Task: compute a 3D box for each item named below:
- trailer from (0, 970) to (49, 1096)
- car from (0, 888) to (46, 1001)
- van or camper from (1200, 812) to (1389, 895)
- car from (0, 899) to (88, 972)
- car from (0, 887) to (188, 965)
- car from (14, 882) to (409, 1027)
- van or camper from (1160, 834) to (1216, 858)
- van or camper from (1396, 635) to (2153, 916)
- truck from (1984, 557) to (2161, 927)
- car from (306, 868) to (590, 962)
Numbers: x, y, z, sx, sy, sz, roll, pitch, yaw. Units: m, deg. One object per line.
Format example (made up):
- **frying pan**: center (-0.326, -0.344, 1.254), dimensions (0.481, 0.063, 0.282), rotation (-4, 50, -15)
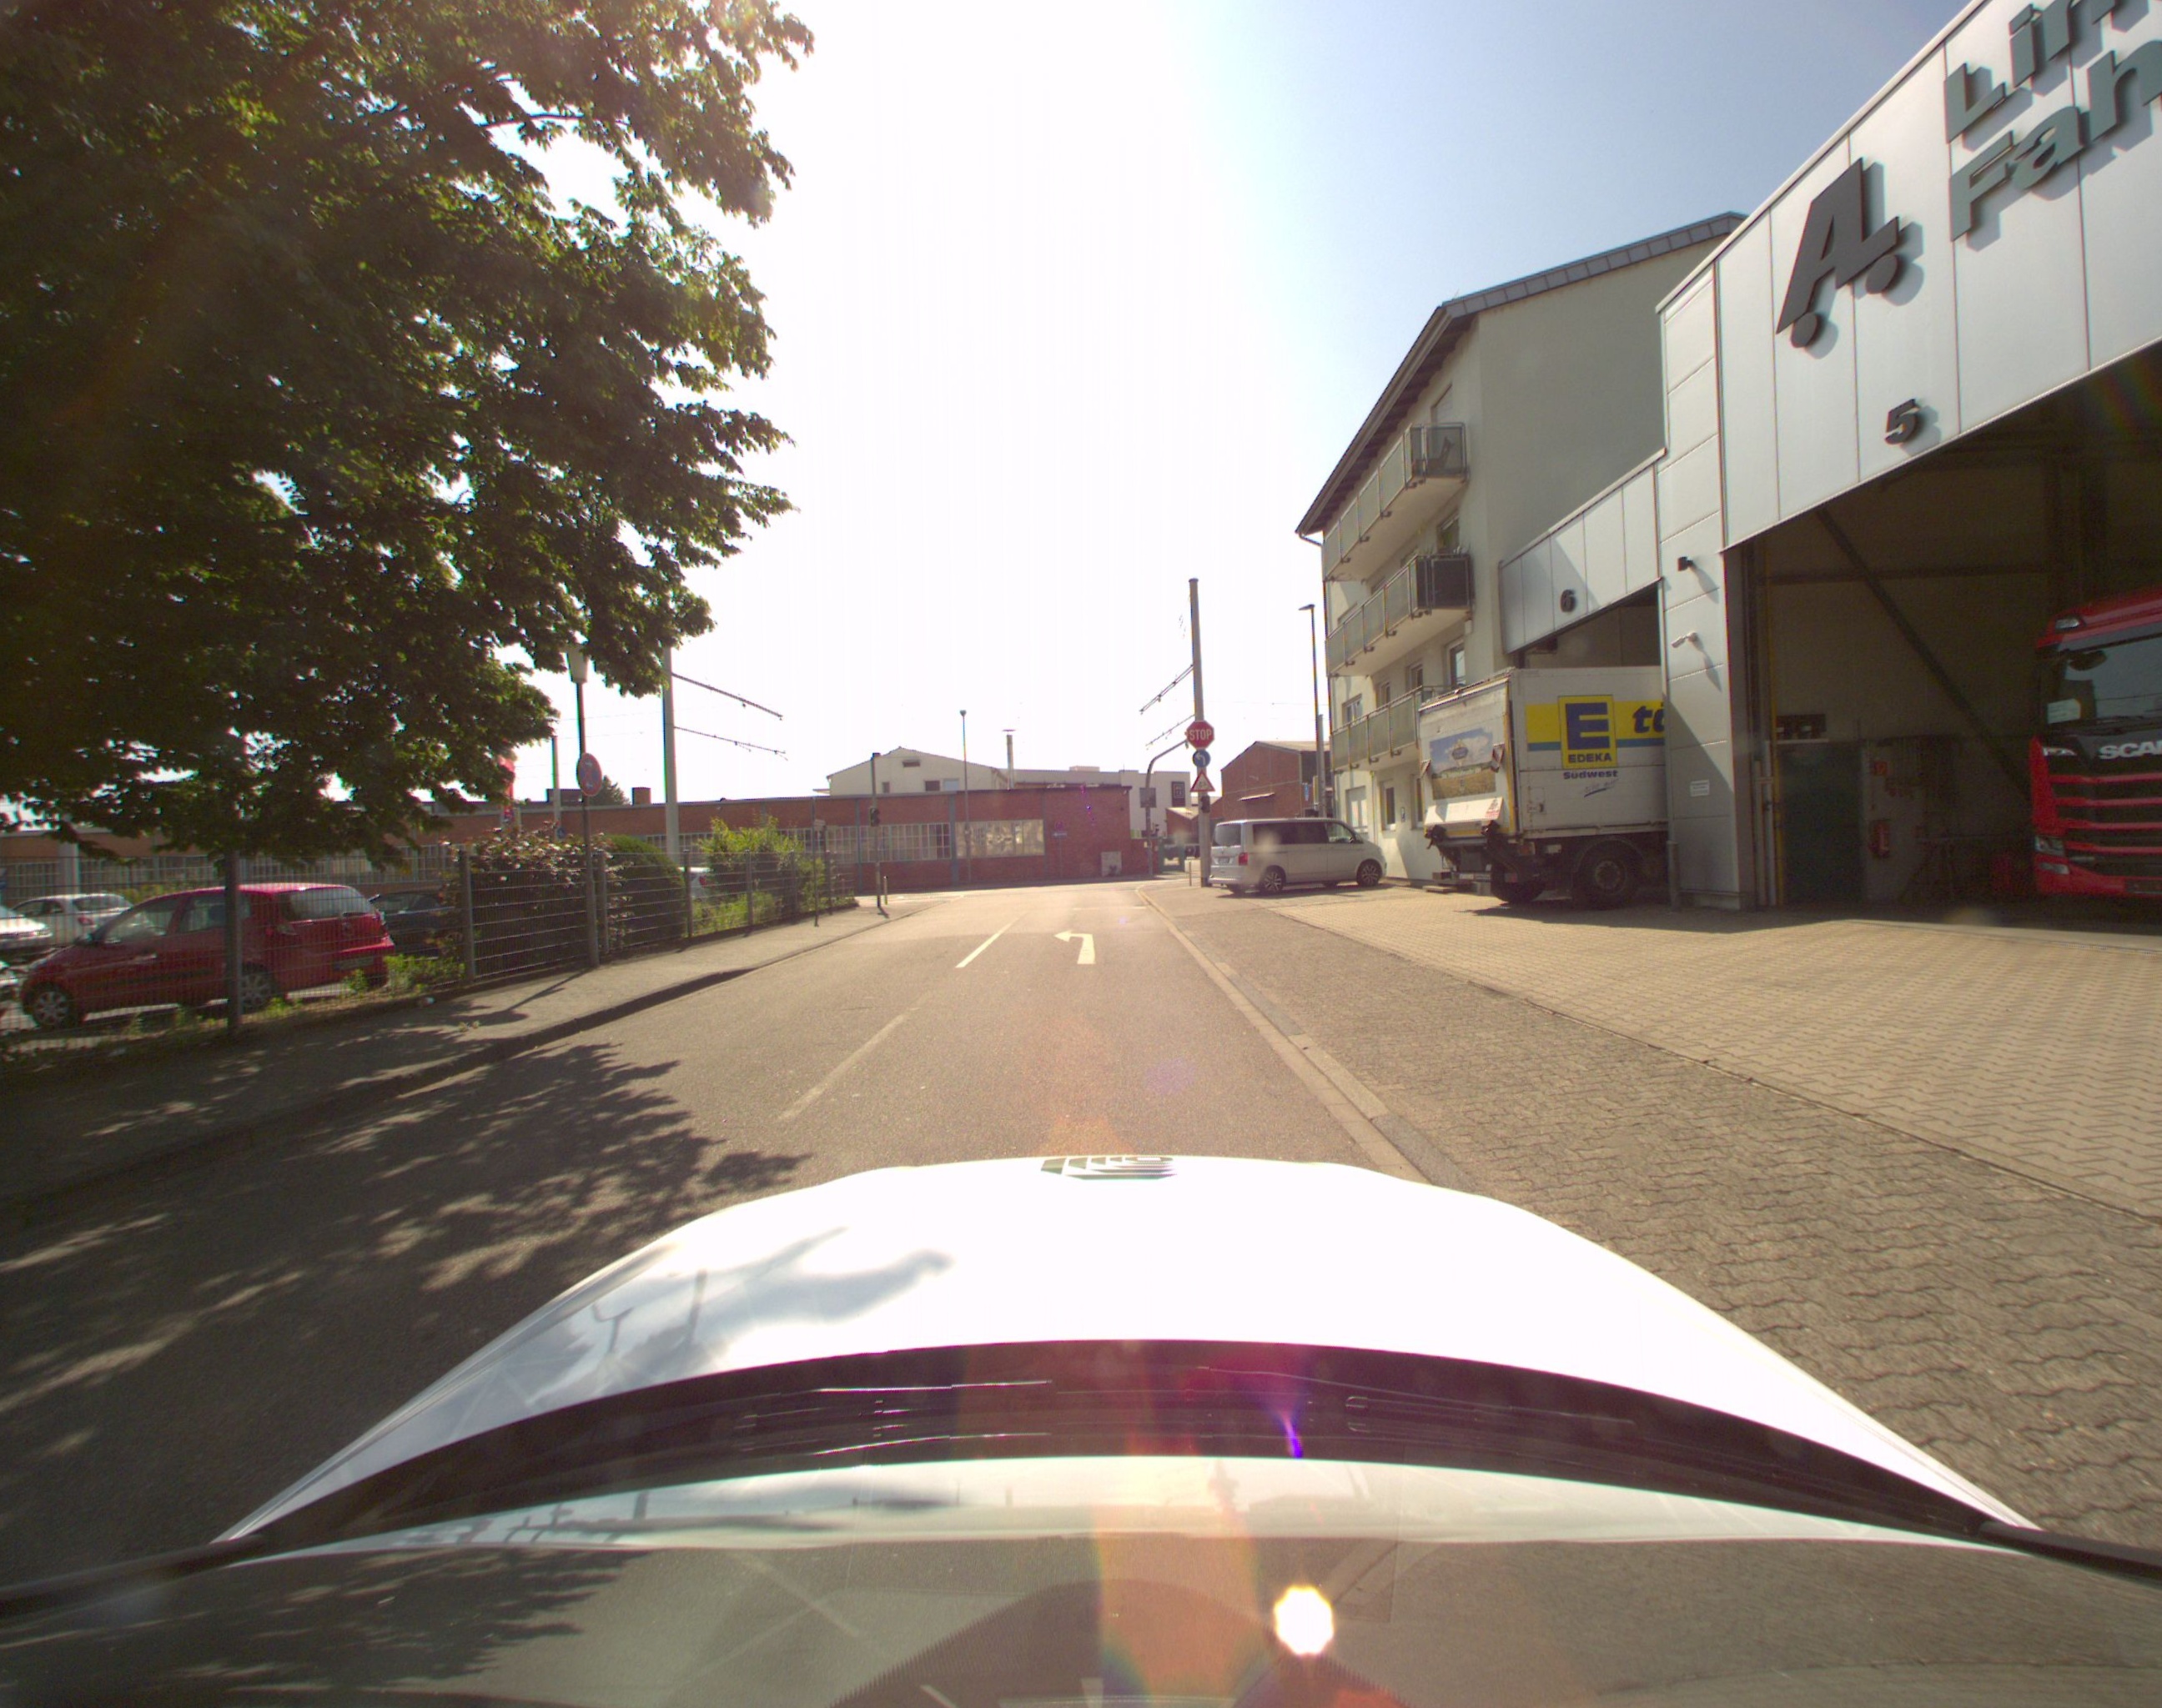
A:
- **trailer**: center (-10.086, 1.508, 5.869), dimensions (3.269, 0.939, 1.613), rotation (-3, 0, 2)
- **car**: center (-15.896, 1.297, 10.465), dimensions (3.058, 1.473, 1.654), rotation (-3, 0, 2)
- **van or camper**: center (5.712, -0.042, 21.849), dimensions (4.556, 1.908, 1.987), rotation (-3, 0, -20)
- **car**: center (-26.598, 2.019, 19.494), dimensions (3.897, 1.568, 1.863), rotation (-3, 0, 11)
- **car**: center (-27.176, 1.937, 22.072), dimensions (3.966, 1.849, 2.004), rotation (-3, -1, 6)
- **car**: center (-10.859, 1.213, 10.332), dimensions (3.365, 1.485, 1.519), rotation (-3, 0, 2)
- **van or camper**: center (8.819, -0.621, 67.196), dimensions (4.440, 1.900, 1.978), rotation (0, -1, -36)
- **van or camper**: center (11.619, -1.350, 13.930), dimensions (11.594, 3.692, 2.773), rotation (-4, 0, -8)
- **truck**: center (13.960, -1.247, 7.652), dimensions (7.921, 3.404, 2.480), rotation (-3, 0, 1)
- **car**: center (-11.381, 1.060, 14.829), dimensions (3.751, 1.366, 1.768), rotation (-3, 0, 2)
